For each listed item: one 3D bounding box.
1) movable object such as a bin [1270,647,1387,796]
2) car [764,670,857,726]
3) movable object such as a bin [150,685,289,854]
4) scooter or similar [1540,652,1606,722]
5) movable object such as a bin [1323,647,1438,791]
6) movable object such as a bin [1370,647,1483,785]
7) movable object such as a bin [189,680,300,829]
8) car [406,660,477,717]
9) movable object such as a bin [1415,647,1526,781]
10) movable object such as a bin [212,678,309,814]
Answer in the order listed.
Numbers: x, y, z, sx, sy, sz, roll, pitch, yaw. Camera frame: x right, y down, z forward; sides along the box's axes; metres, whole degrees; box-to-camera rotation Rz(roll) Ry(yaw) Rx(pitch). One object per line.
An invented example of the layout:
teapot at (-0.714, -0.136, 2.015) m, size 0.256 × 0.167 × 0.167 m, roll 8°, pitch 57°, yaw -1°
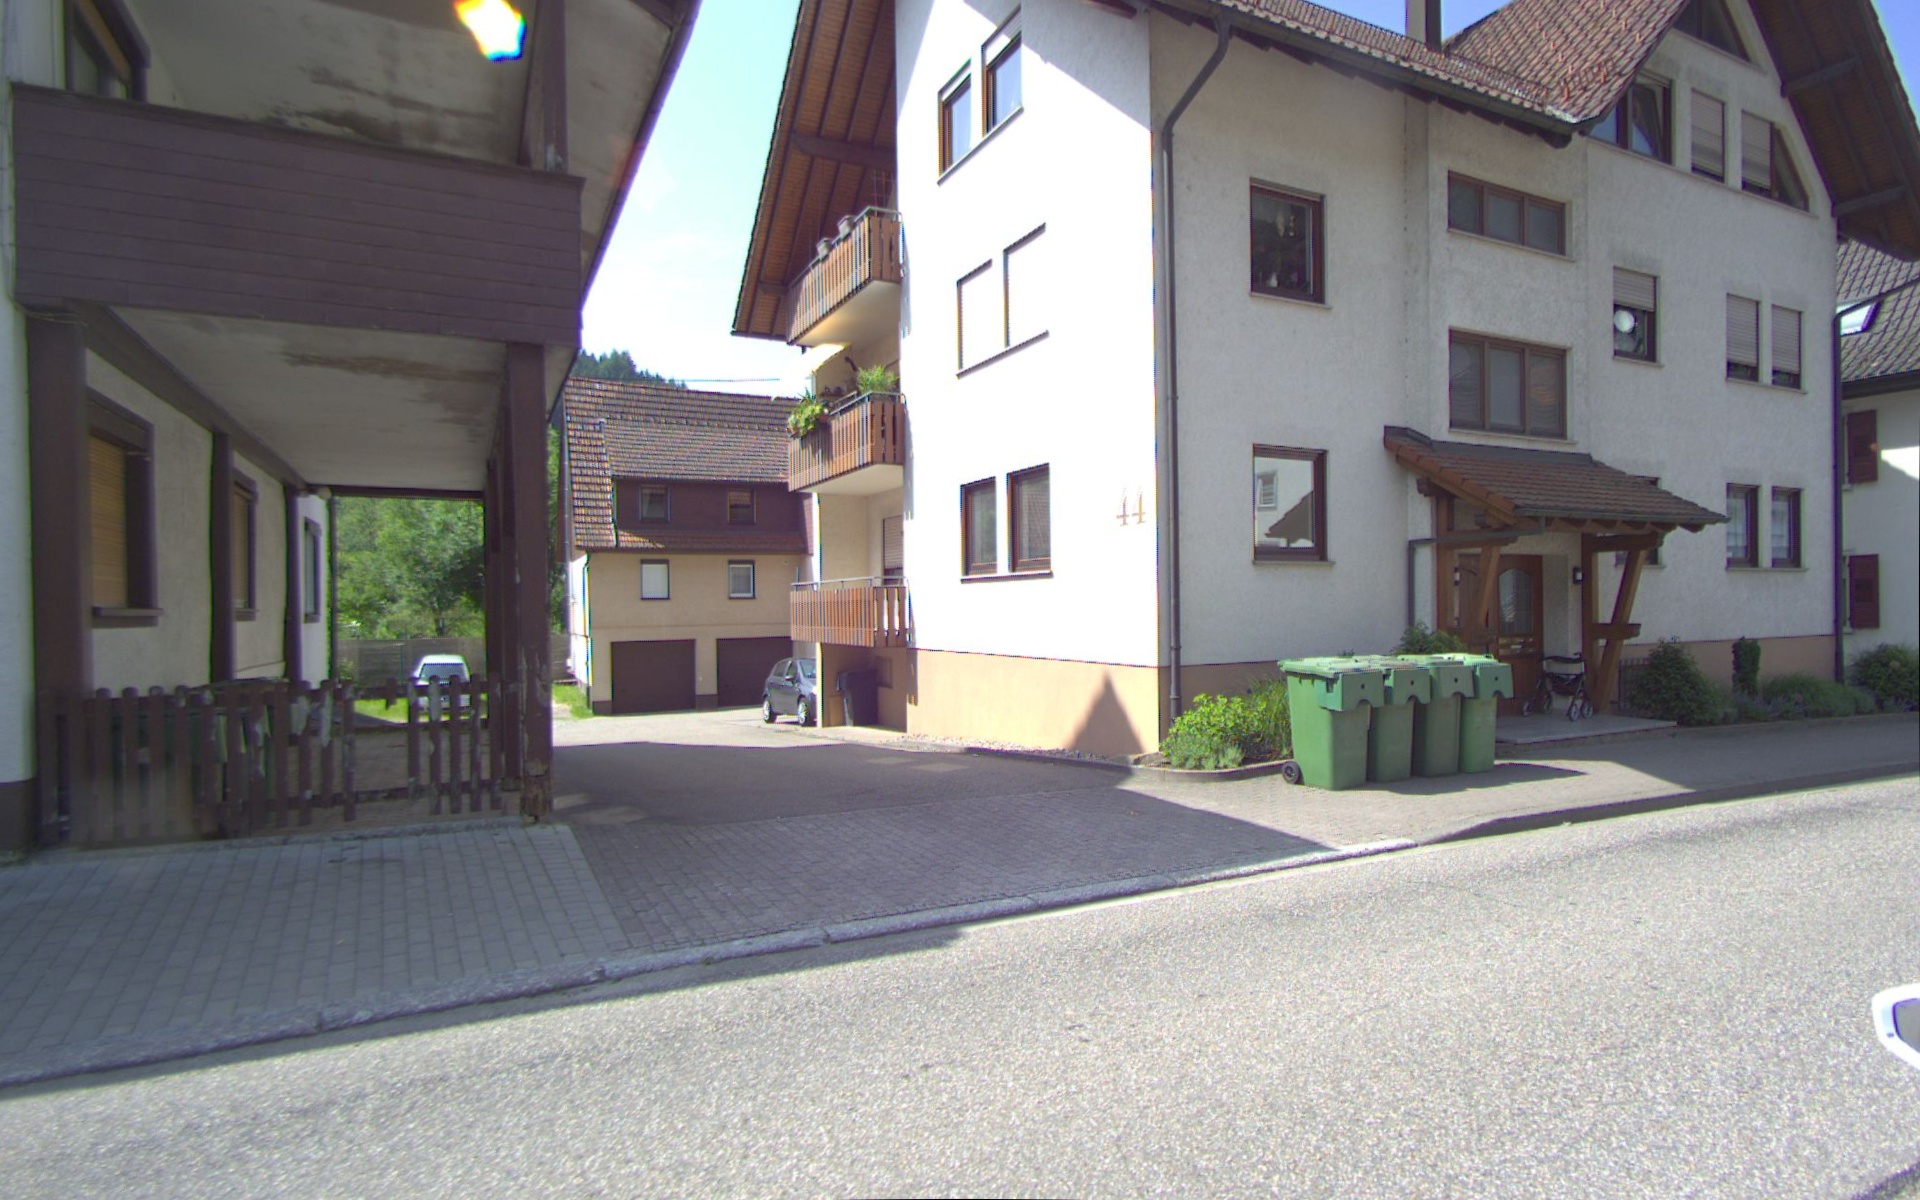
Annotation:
movable object such as a bin at (3.153, 1.010, 8.631) m, size 0.590 × 1.197 × 0.715 m, roll 0°, pitch -2°, yaw -27°
car at (-3.390, 2.180, 22.415) m, size 1.456 × 1.128 × 3.115 m, roll 0°, pitch -5°, yaw -20°
movable object such as a bin at (-5.154, 1.146, 7.034) m, size 0.688 × 1.065 × 0.619 m, roll 1°, pitch -2°, yaw -29°
scooter or similar at (7.630, 1.074, 12.500) m, size 0.531 × 0.837 × 0.503 m, roll 3°, pitch -2°, yaw -29°
movable object such as a bin at (3.729, 1.025, 8.933) m, size 0.590 × 1.197 × 0.715 m, roll 0°, pitch -2°, yaw -27°
movable object such as a bin at (4.286, 1.040, 9.257) m, size 0.590 × 1.197 × 0.715 m, roll 0°, pitch -2°, yaw -27°
movable object such as a bin at (-5.597, 1.182, 7.893) m, size 0.624 × 1.065 × 0.604 m, roll 1°, pitch -2°, yaw -29°
car at (-16.408, 2.781, 31.902) m, size 1.717 × 1.675 × 3.655 m, roll 1°, pitch -4°, yaw -23°
movable object such as a bin at (4.855, 1.055, 9.570) m, size 0.590 × 1.197 × 0.715 m, roll 0°, pitch -2°, yaw -27°
movable object such as a bin at (-5.944, 1.216, 8.568) m, size 0.593 × 1.065 × 0.596 m, roll 1°, pitch -2°, yaw -29°
